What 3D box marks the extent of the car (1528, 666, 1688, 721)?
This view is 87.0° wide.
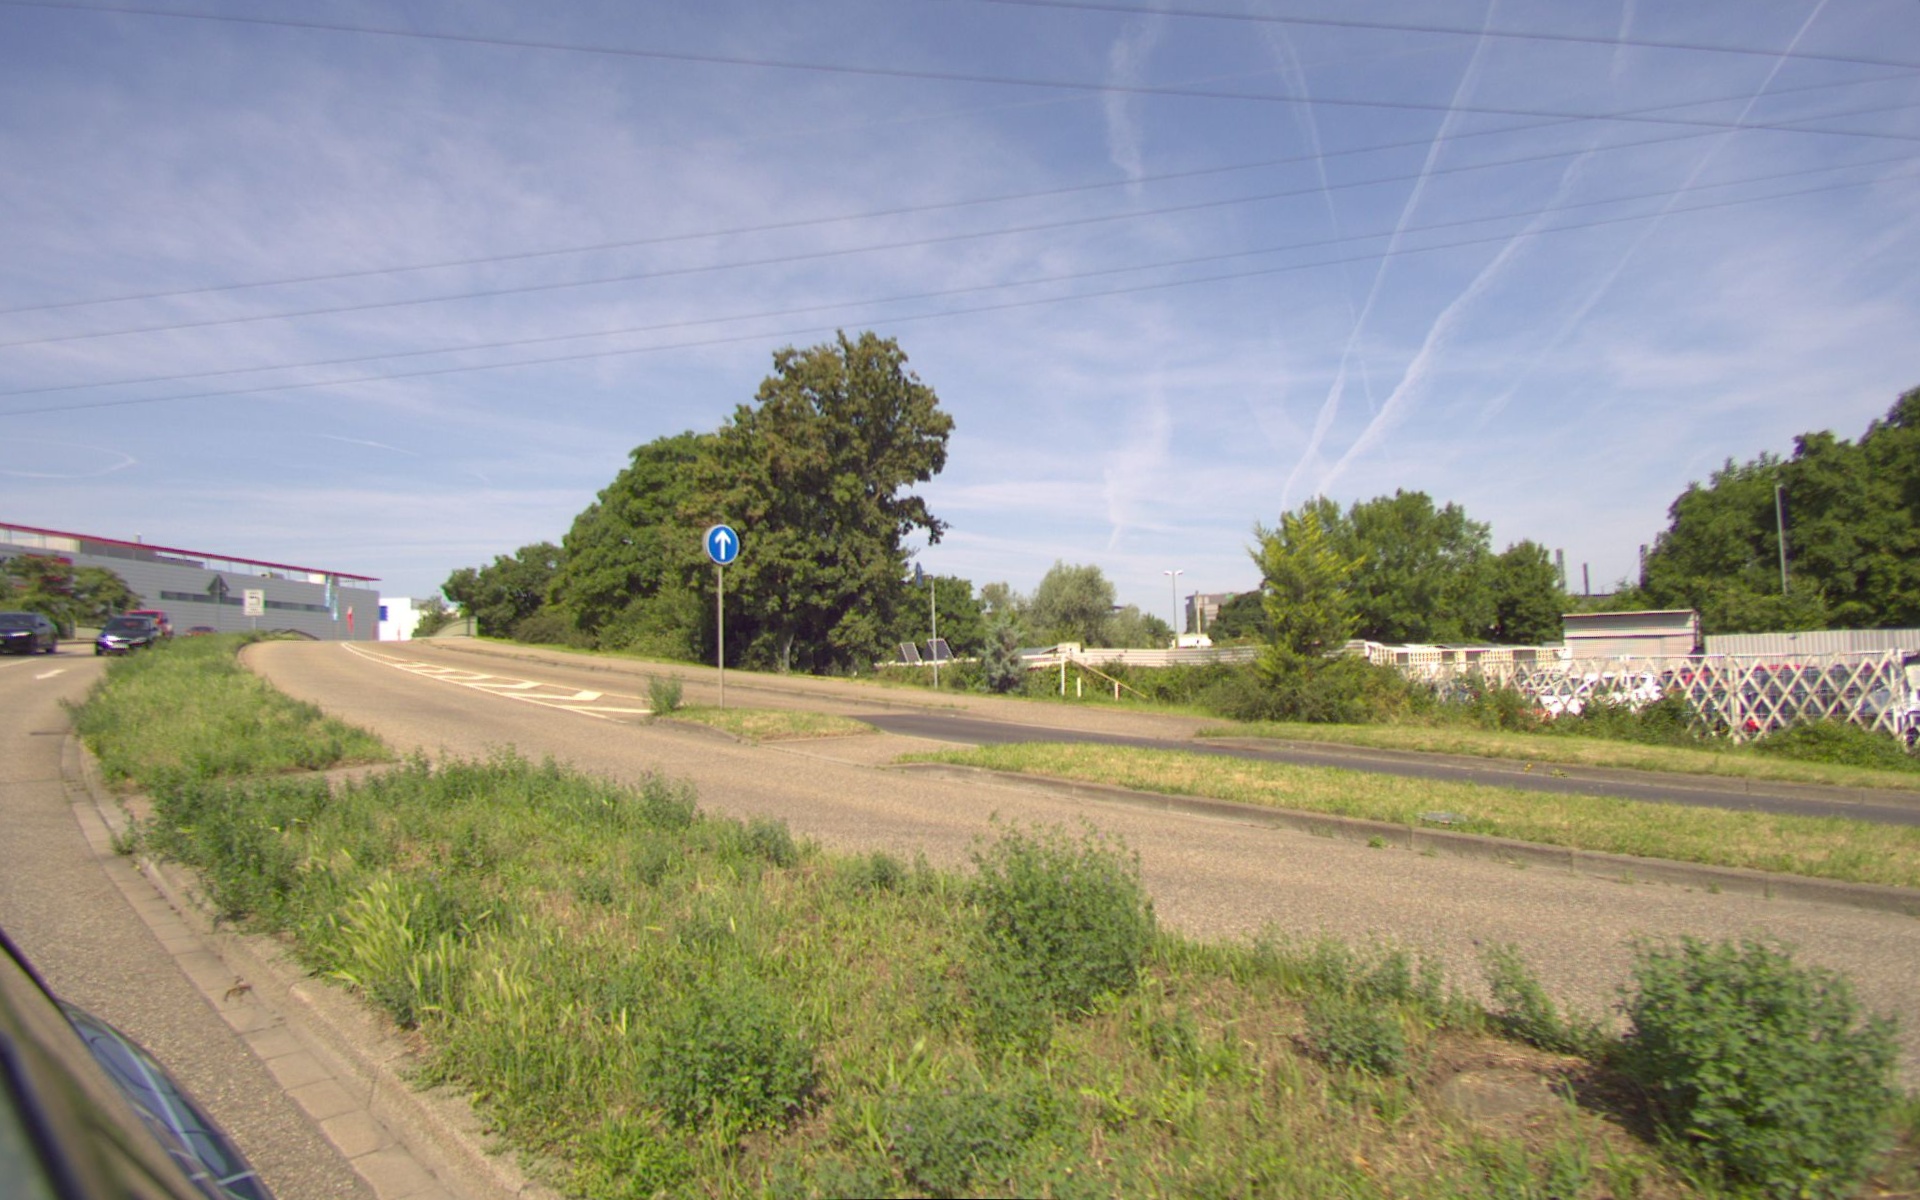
[{"bbox_3d":[17.136,2.462,26.866,3.133,1.303,1.599,-2,-4,-3],"label":"car"}]

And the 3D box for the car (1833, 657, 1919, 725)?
[{"bbox_3d":[20.368,1.831,20.936,3.133,1.303,1.599,-2,-4,-3],"label":"car"}]

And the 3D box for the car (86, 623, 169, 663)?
[{"bbox_3d":[-32.158,1.654,39.192,1.819,1.429,4.012,0,-2,-30],"label":"car"}]

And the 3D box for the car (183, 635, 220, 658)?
[{"bbox_3d":[-56.991,3.501,76.079,1.748,1.671,4.156,2,-4,-31],"label":"car"}]

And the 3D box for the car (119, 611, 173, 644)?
[{"bbox_3d":[-49.102,1.637,61.137,1.955,1.921,4.156,1,-1,-31],"label":"car"}]

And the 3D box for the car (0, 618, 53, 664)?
[{"bbox_3d":[-34.678,1.445,36.732,1.830,1.541,4.156,0,0,-31],"label":"car"}]

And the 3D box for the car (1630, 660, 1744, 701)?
[{"bbox_3d":[25.299,2.796,35.242,3.125,1.303,1.603,-1,-5,-18],"label":"car"}]
